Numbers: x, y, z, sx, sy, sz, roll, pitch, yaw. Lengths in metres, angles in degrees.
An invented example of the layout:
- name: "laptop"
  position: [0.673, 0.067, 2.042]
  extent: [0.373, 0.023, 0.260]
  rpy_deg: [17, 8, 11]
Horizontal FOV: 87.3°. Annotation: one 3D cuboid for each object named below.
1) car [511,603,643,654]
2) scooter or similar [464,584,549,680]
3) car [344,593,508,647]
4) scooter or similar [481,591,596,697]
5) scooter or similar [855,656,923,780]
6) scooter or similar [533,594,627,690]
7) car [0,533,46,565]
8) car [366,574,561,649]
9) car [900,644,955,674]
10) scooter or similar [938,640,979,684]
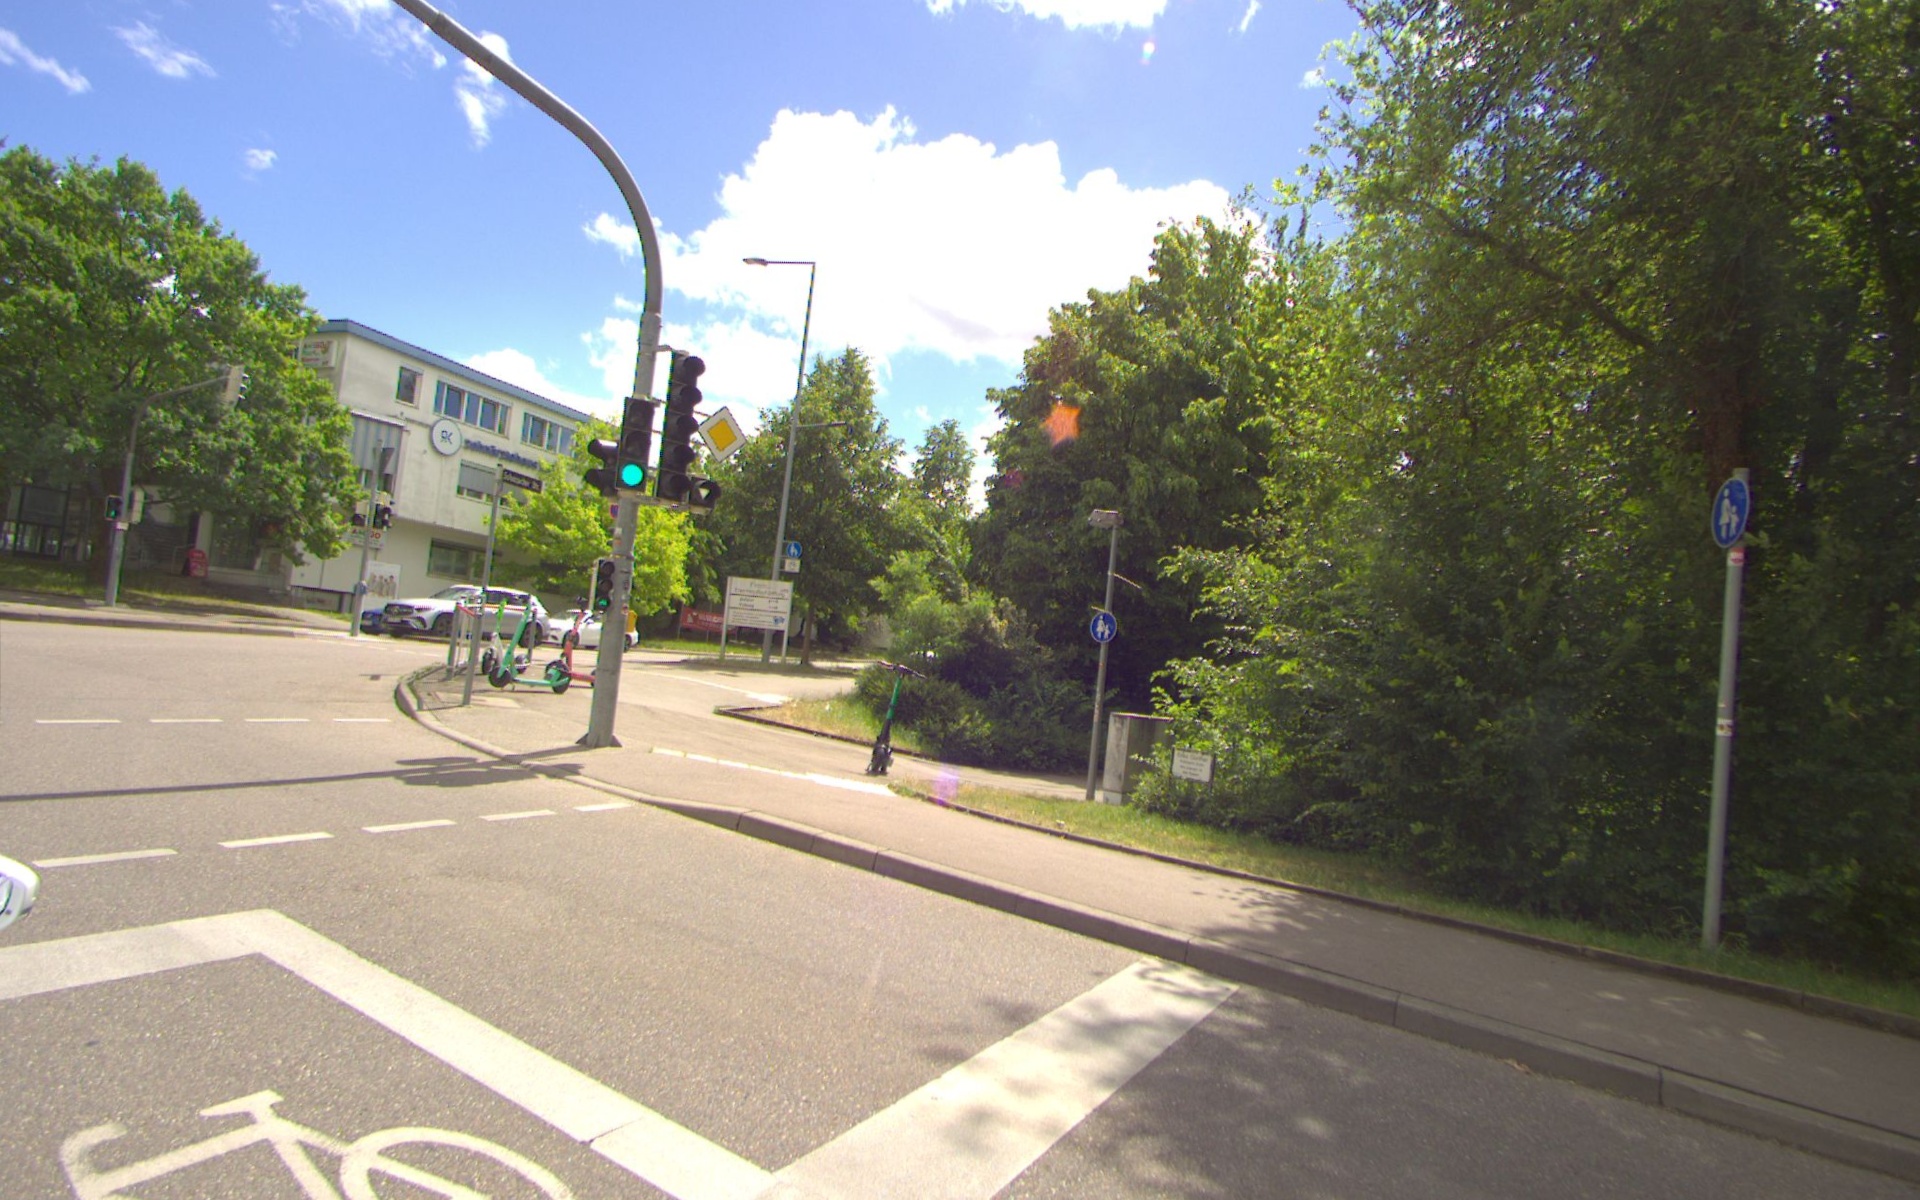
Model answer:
- name: "car"
  position: [-13.738, 1.072, 36.388]
  extent: [1.916, 1.430, 4.407]
  rpy_deg: [3, -4, 21]
- name: "scooter or similar"
  position: [-6.420, 0.464, 14.296]
  extent: [0.470, 1.249, 1.212]
  rpy_deg: [7, -2, 3]
- name: "car"
  position: [-15.915, 0.635, 30.213]
  extent: [1.879, 1.238, 3.974]
  rpy_deg: [3, -4, 23]
- name: "scooter or similar"
  position: [-5.285, 0.575, 12.666]
  extent: [0.442, 1.209, 1.169]
  rpy_deg: [6, -2, 35]
- name: "scooter or similar"
  position: [-0.824, 1.373, 11.876]
  extent: [0.526, 1.304, 1.213]
  rpy_deg: [11, -5, -2]
- name: "scooter or similar"
  position: [-5.338, 0.617, 14.201]
  extent: [0.471, 1.249, 1.187]
  rpy_deg: [6, -2, 18]
- name: "car"
  position: [-53.832, -2.985, 56.999]
  extent: [3.931, 1.487, 1.748]
  rpy_deg: [6, -2, 29]
- name: "car"
  position: [-13.637, 0.377, 27.994]
  extent: [1.889, 1.609, 4.658]
  rpy_deg: [3, -4, 23]
- name: "car"
  position: [-1.789, 3.305, 56.368]
  extent: [1.579, 1.428, 3.901]
  rpy_deg: [3, -4, 21]
- name: "scooter or similar"
  position: [-0.029, 1.659, 26.820]
  extent: [0.404, 1.086, 1.113]
  rpy_deg: [6, -2, 35]
